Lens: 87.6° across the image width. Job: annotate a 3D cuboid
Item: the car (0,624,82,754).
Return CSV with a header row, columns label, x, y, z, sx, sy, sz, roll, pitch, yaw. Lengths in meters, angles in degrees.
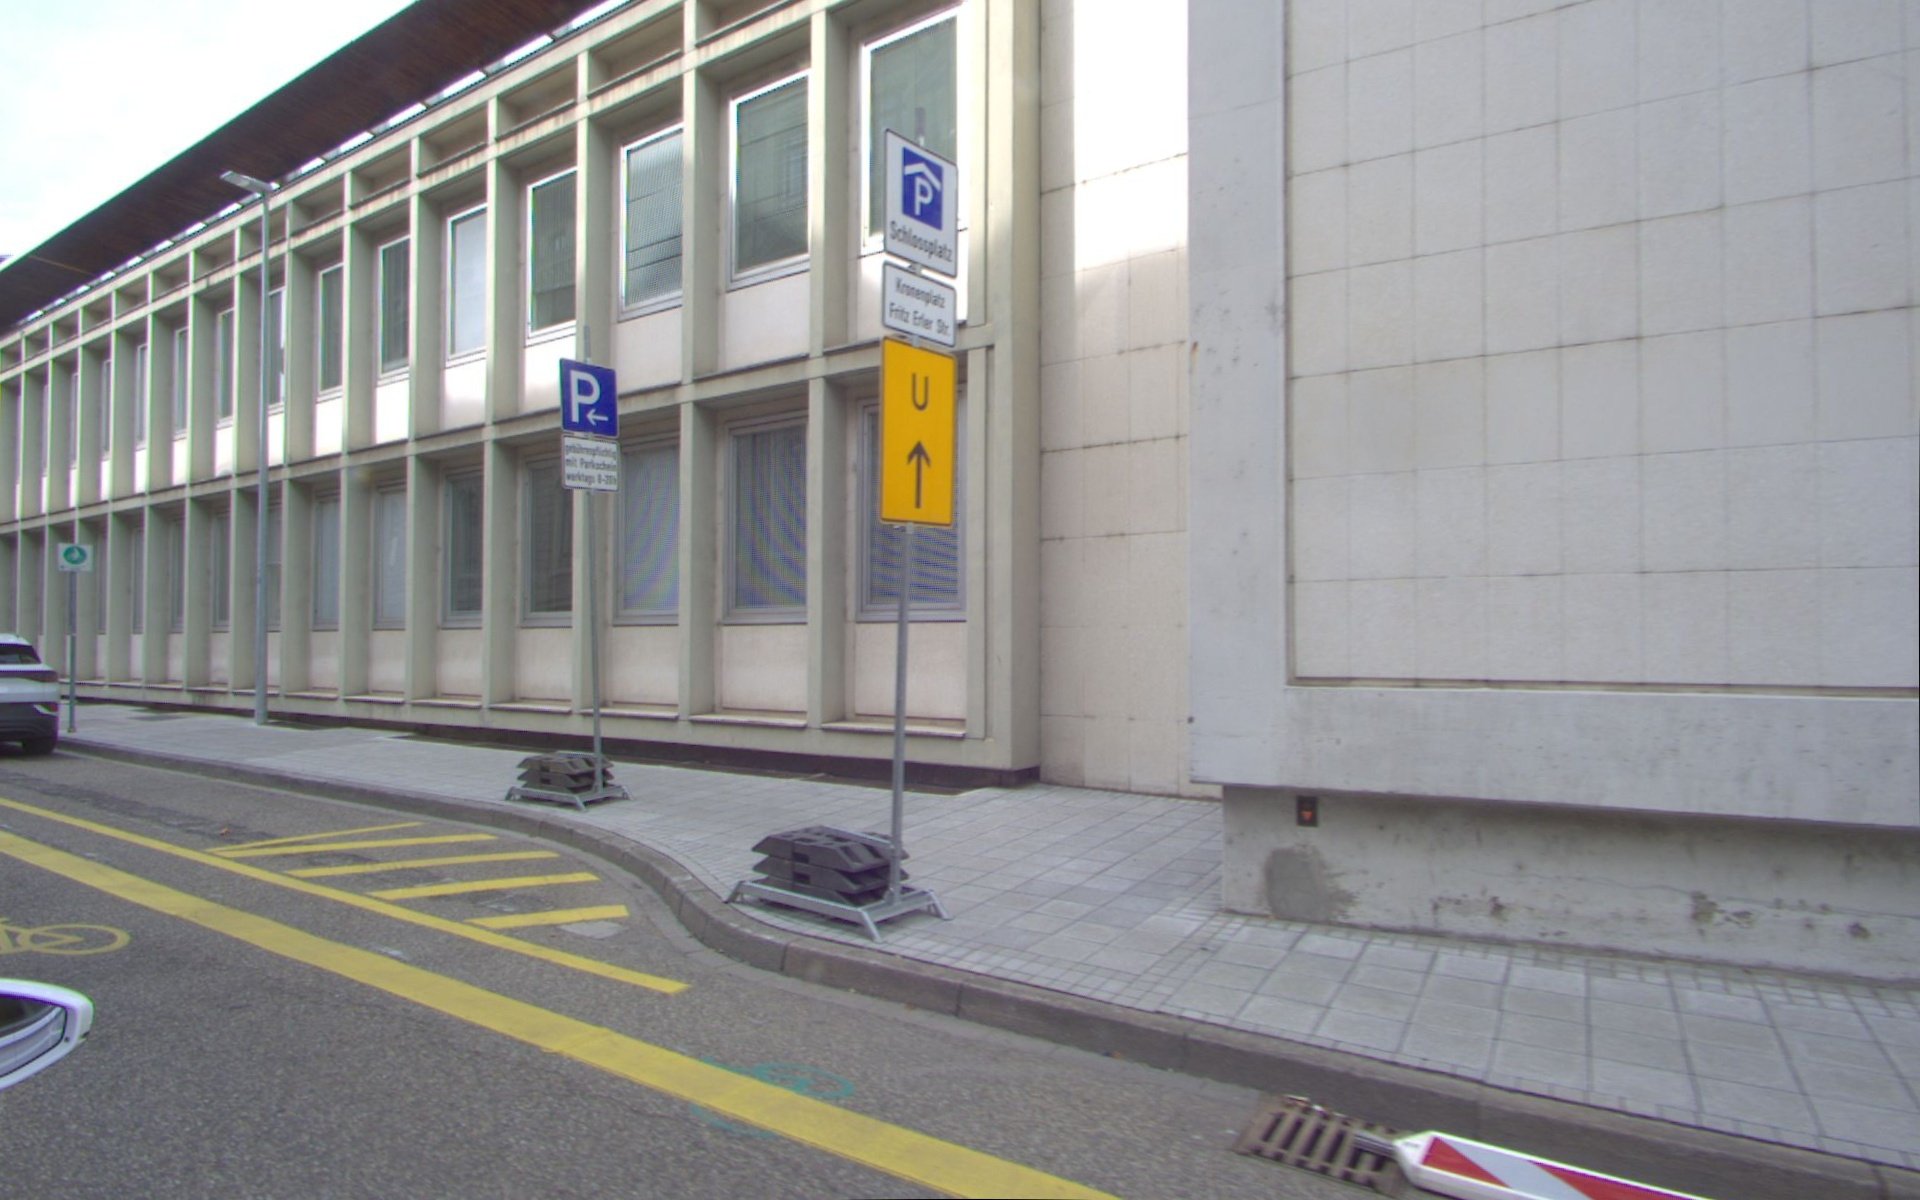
label,x,y,z,sx,sy,sz,roll,pitch,yaw
car,-13.919,1.155,13.691,4.452,1.624,1.856,-2,-4,35
